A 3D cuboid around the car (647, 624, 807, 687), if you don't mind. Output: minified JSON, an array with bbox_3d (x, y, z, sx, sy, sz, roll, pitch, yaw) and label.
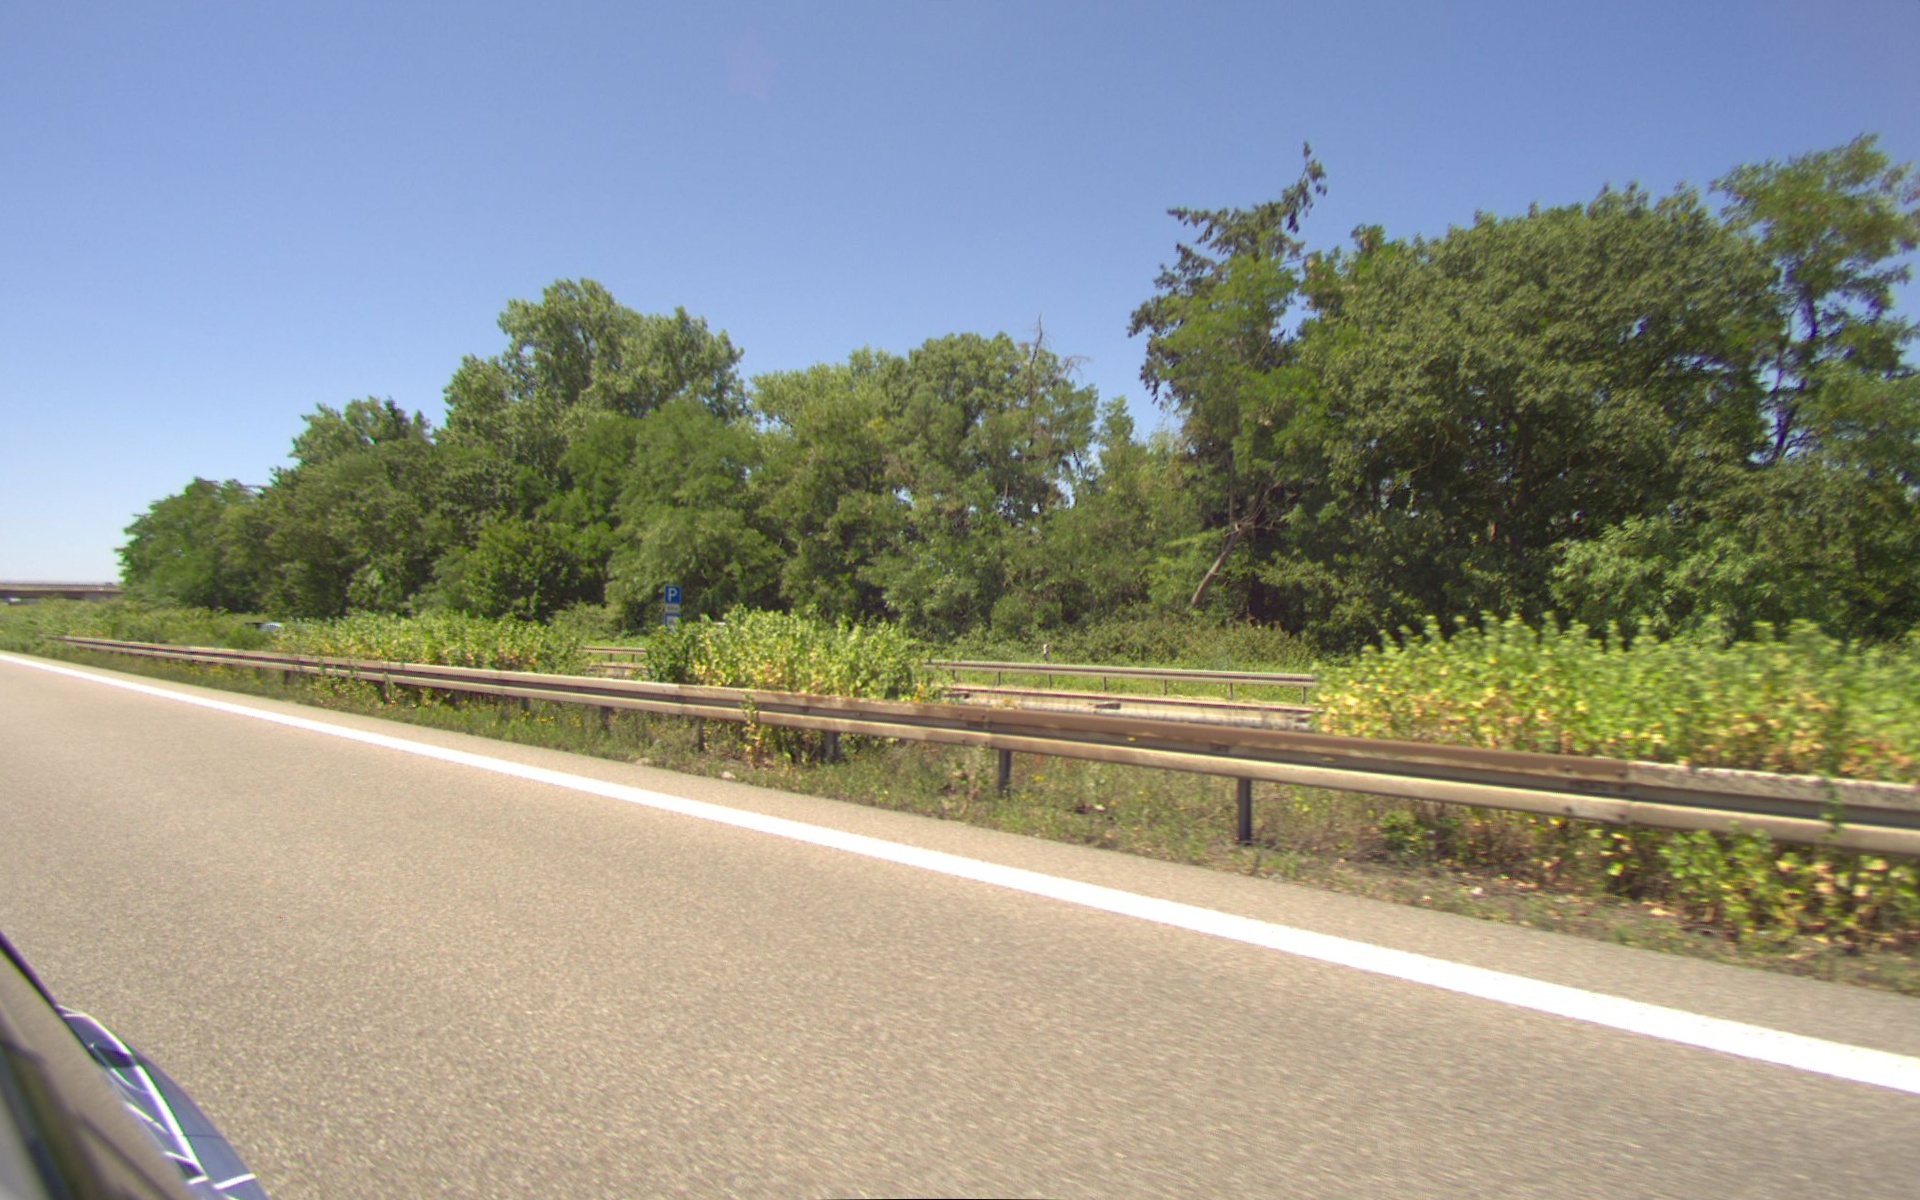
[{"bbox_3d":[-5.977,1.351,25.716,4.326,1.412,1.768,-2,0,41],"label":"car"}]

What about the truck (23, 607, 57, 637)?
[{"bbox_3d":[-115.681,2.760,127.254,6.826,3.733,2.563,-2,0,43],"label":"truck"}]

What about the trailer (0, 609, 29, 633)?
[{"bbox_3d":[-146.673,3.302,156.378,14.148,3.443,2.560,-2,0,41],"label":"trailer"}]

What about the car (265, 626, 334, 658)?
[{"bbox_3d":[-23.927,1.511,36.635,2.940,1.060,1.376,-2,0,41],"label":"car"}]
